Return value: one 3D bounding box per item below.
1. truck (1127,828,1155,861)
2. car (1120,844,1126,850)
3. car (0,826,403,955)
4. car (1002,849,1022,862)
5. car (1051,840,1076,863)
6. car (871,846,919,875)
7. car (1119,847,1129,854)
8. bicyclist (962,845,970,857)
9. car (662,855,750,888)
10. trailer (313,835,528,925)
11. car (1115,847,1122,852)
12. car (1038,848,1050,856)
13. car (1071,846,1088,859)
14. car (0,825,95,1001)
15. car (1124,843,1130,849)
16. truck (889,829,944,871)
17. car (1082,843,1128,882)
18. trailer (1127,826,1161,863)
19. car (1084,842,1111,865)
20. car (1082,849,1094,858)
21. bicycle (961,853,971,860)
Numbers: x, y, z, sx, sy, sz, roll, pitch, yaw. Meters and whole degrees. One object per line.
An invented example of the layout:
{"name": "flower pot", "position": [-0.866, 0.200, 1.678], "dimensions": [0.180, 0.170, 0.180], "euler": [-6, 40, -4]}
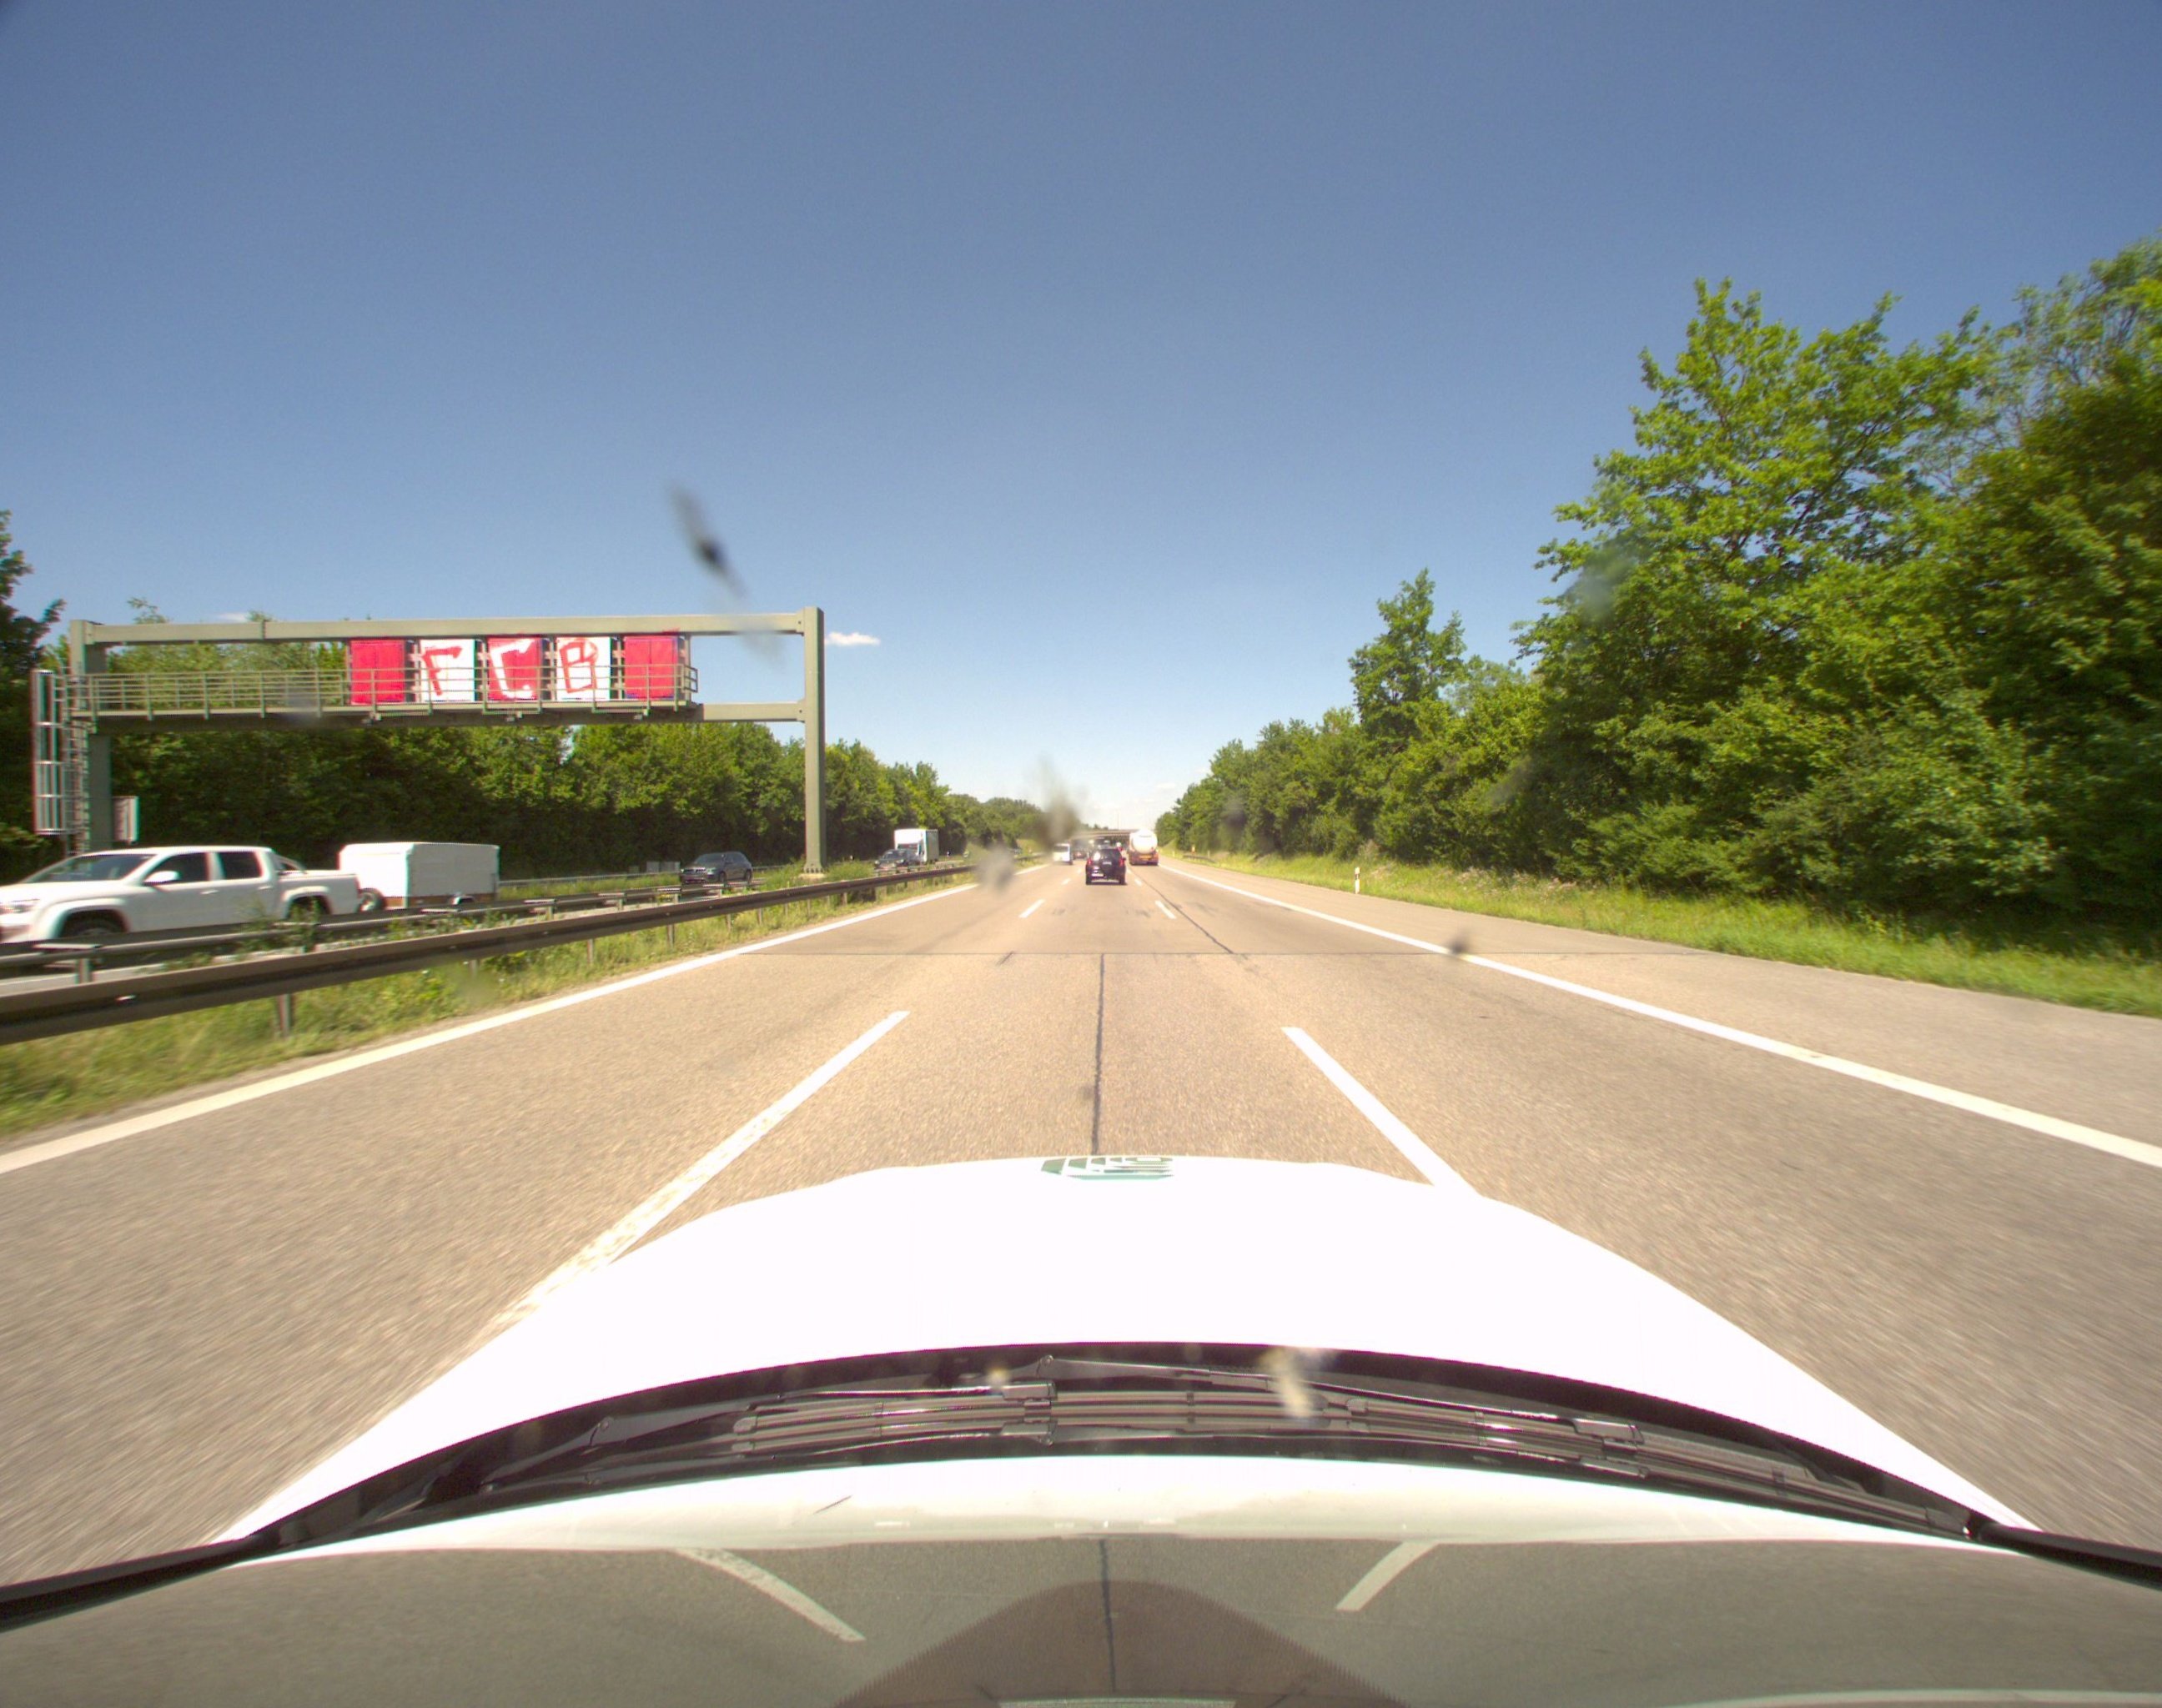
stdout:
{"name": "truck", "position": [6.290, -0.968, 86.531], "dimensions": [2.628, 3.374, 6.489], "euler": [1, 0, 1]}
{"name": "car", "position": [13.046, -2.201, 254.546], "dimensions": [1.804, 1.746, 4.004], "euler": [-1, 1, 3]}
{"name": "car", "position": [-14.907, 0.536, 14.060], "dimensions": [1.986, 1.805, 5.128], "euler": [0, -1, 2]}
{"name": "car", "position": [-8.740, 0.220, 103.935], "dimensions": [1.986, 1.598, 4.594], "euler": [-1, 0, 1]}
{"name": "car", "position": [-1.648, -0.243, 77.530], "dimensions": [1.985, 2.013, 4.954], "euler": [-1, 0, 3]}
{"name": "car", "position": [-11.047, 0.327, 48.647], "dimensions": [1.772, 1.618, 4.062], "euler": [-1, 1, 2]}
{"name": "car", "position": [9.309, -0.781, 175.524], "dimensions": [1.986, 1.574, 4.002], "euler": [-1, 0, 2]}
{"name": "bicyclist", "position": [-15.207, -0.444, 107.638], "dimensions": [0.877, 1.576, 1.287], "euler": [0, -1, 1]}
{"name": "car", "position": [-18.587, 0.809, 40.631], "dimensions": [1.895, 1.465, 5.067], "euler": [-1, 0, 1]}
{"name": "trailer", "position": [-14.858, 0.548, 18.639], "dimensions": [1.614, 1.834, 3.923], "euler": [0, -1, 2]}
{"name": "car", "position": [10.586, -1.297, 229.687], "dimensions": [1.986, 1.574, 4.002], "euler": [-1, 0, 2]}
{"name": "car", "position": [-7.217, -0.357, 157.473], "dimensions": [1.986, 1.520, 4.429], "euler": [-1, 0, 1]}
{"name": "car", "position": [-0.174, -0.174, 104.335], "dimensions": [1.986, 1.552, 4.001], "euler": [0, -1, 2]}
{"name": "car", "position": [-11.533, 0.627, 6.054], "dimensions": [1.899, 1.707, 5.199], "euler": [-3, 0, 2]}
{"name": "car", "position": [13.773, -2.309, 241.923], "dimensions": [1.804, 1.746, 4.004], "euler": [-1, 1, 3]}
{"name": "truck", "position": [-13.572, -0.279, 67.781], "dimensions": [2.769, 3.305, 8.060], "euler": [0, -1, 1]}
{"name": "car", "position": [1.140, 0.364, 37.018], "dimensions": [1.898, 1.665, 4.004], "euler": [0, 0, 4]}
{"name": "trailer", "position": [6.156, -0.932, 80.884], "dimensions": [2.639, 3.389, 11.154], "euler": [0, 1, 1]}
{"name": "car", "position": [1.356, -0.068, 64.526], "dimensions": [1.986, 1.706, 4.339], "euler": [-1, 0, 2]}
{"name": "car", "position": [1.244, -0.070, 144.651], "dimensions": [1.986, 1.574, 4.002], "euler": [-1, 0, 2]}
{"name": "bicycle", "position": [-15.205, 0.300, 107.679], "dimensions": [0.898, 0.916, 2.734], "euler": [0, 0, 2]}
